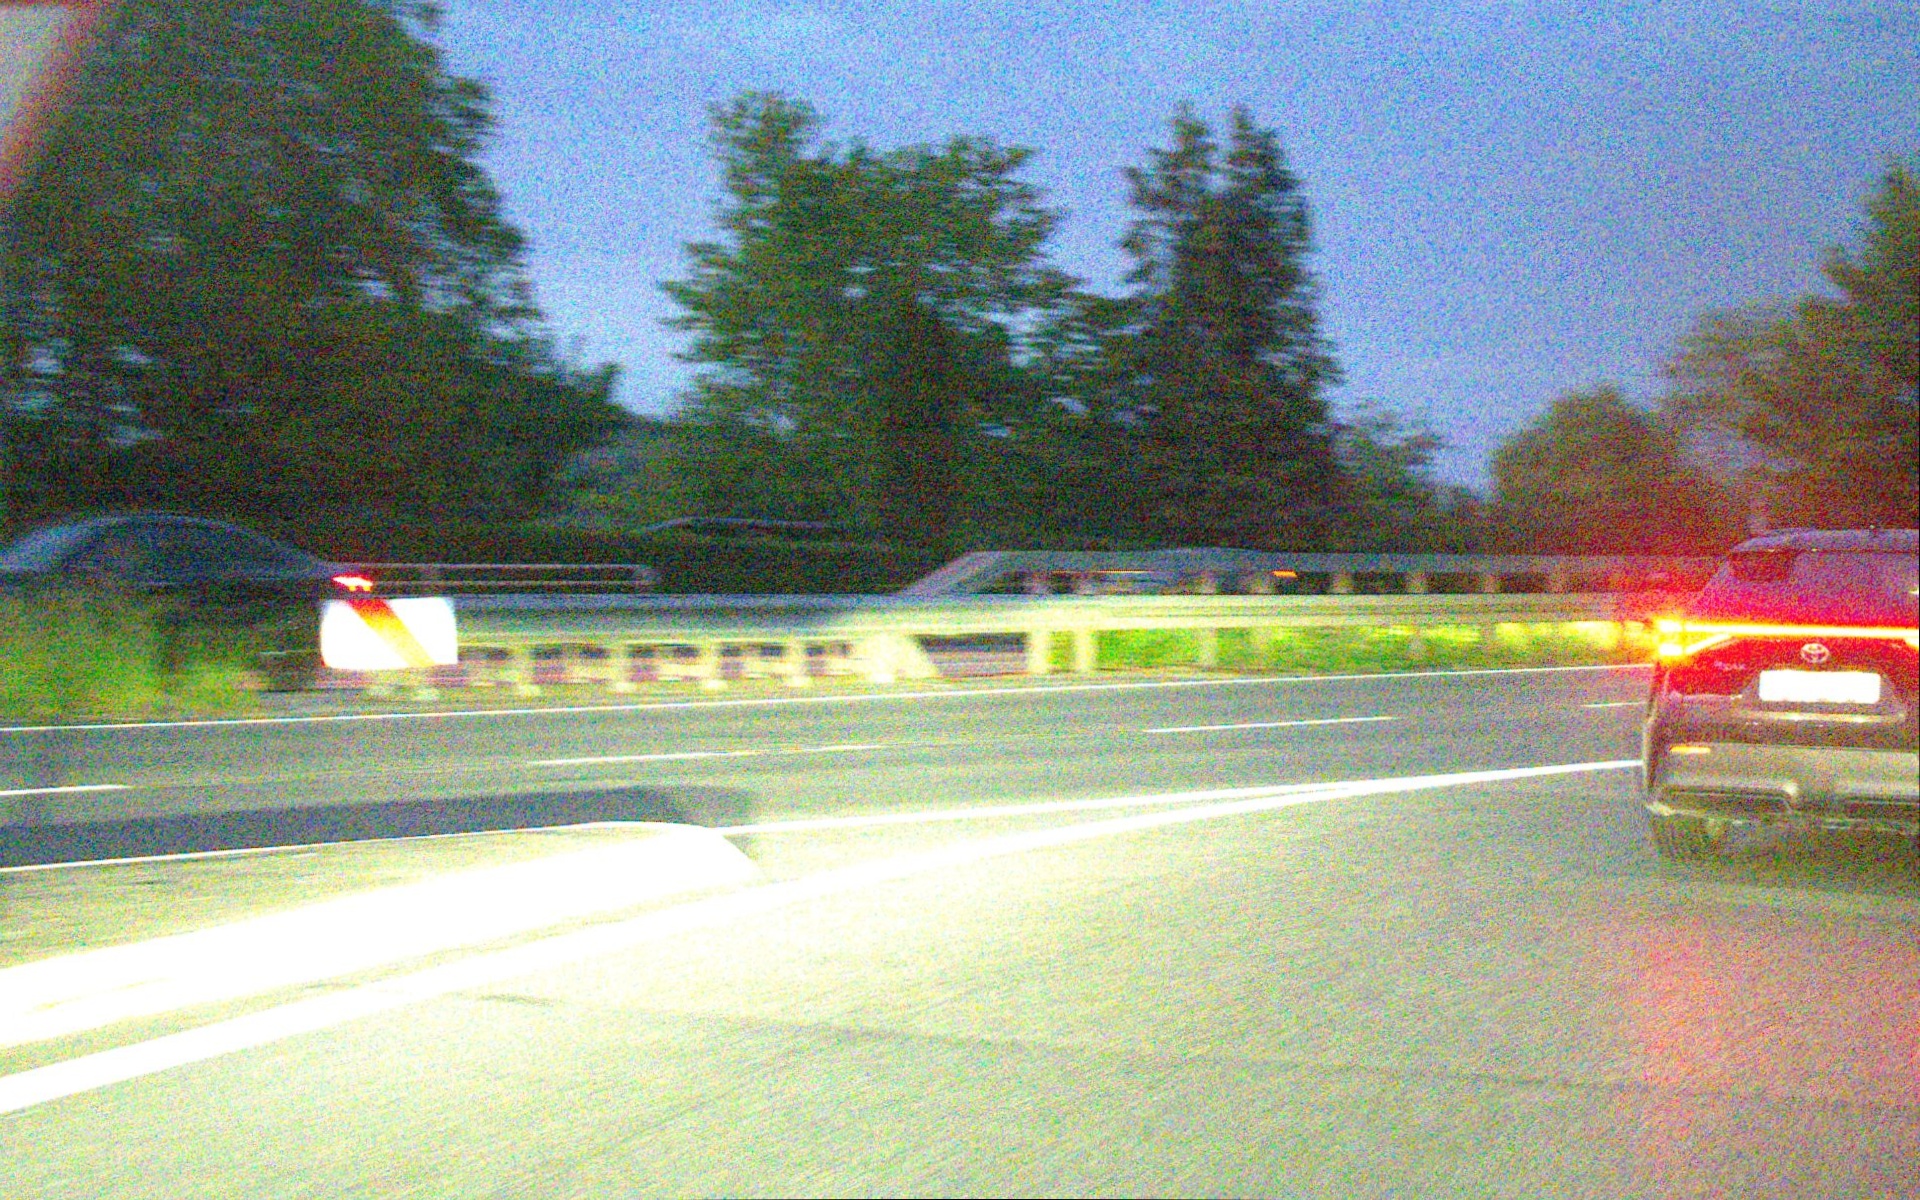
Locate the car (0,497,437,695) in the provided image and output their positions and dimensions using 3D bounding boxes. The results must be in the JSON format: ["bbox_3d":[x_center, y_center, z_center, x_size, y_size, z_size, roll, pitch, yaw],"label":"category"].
[{"bbox_3d":[-6.700,-0.043,26.892,1.998,1.448,5.035,0,1,42],"label":"car"}]

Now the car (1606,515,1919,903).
[{"bbox_3d":[4.787,0.430,16.912,1.904,1.614,4.550,3,2,27],"label":"car"}]

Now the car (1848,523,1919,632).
[{"bbox_3d":[15.380,-0.339,51.469,1.998,1.564,4.810,0,0,43],"label":"car"}]

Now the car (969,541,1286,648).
[{"bbox_3d":[2.441,-0.102,48.988,1.998,1.448,4.723,1,1,42],"label":"car"}]
